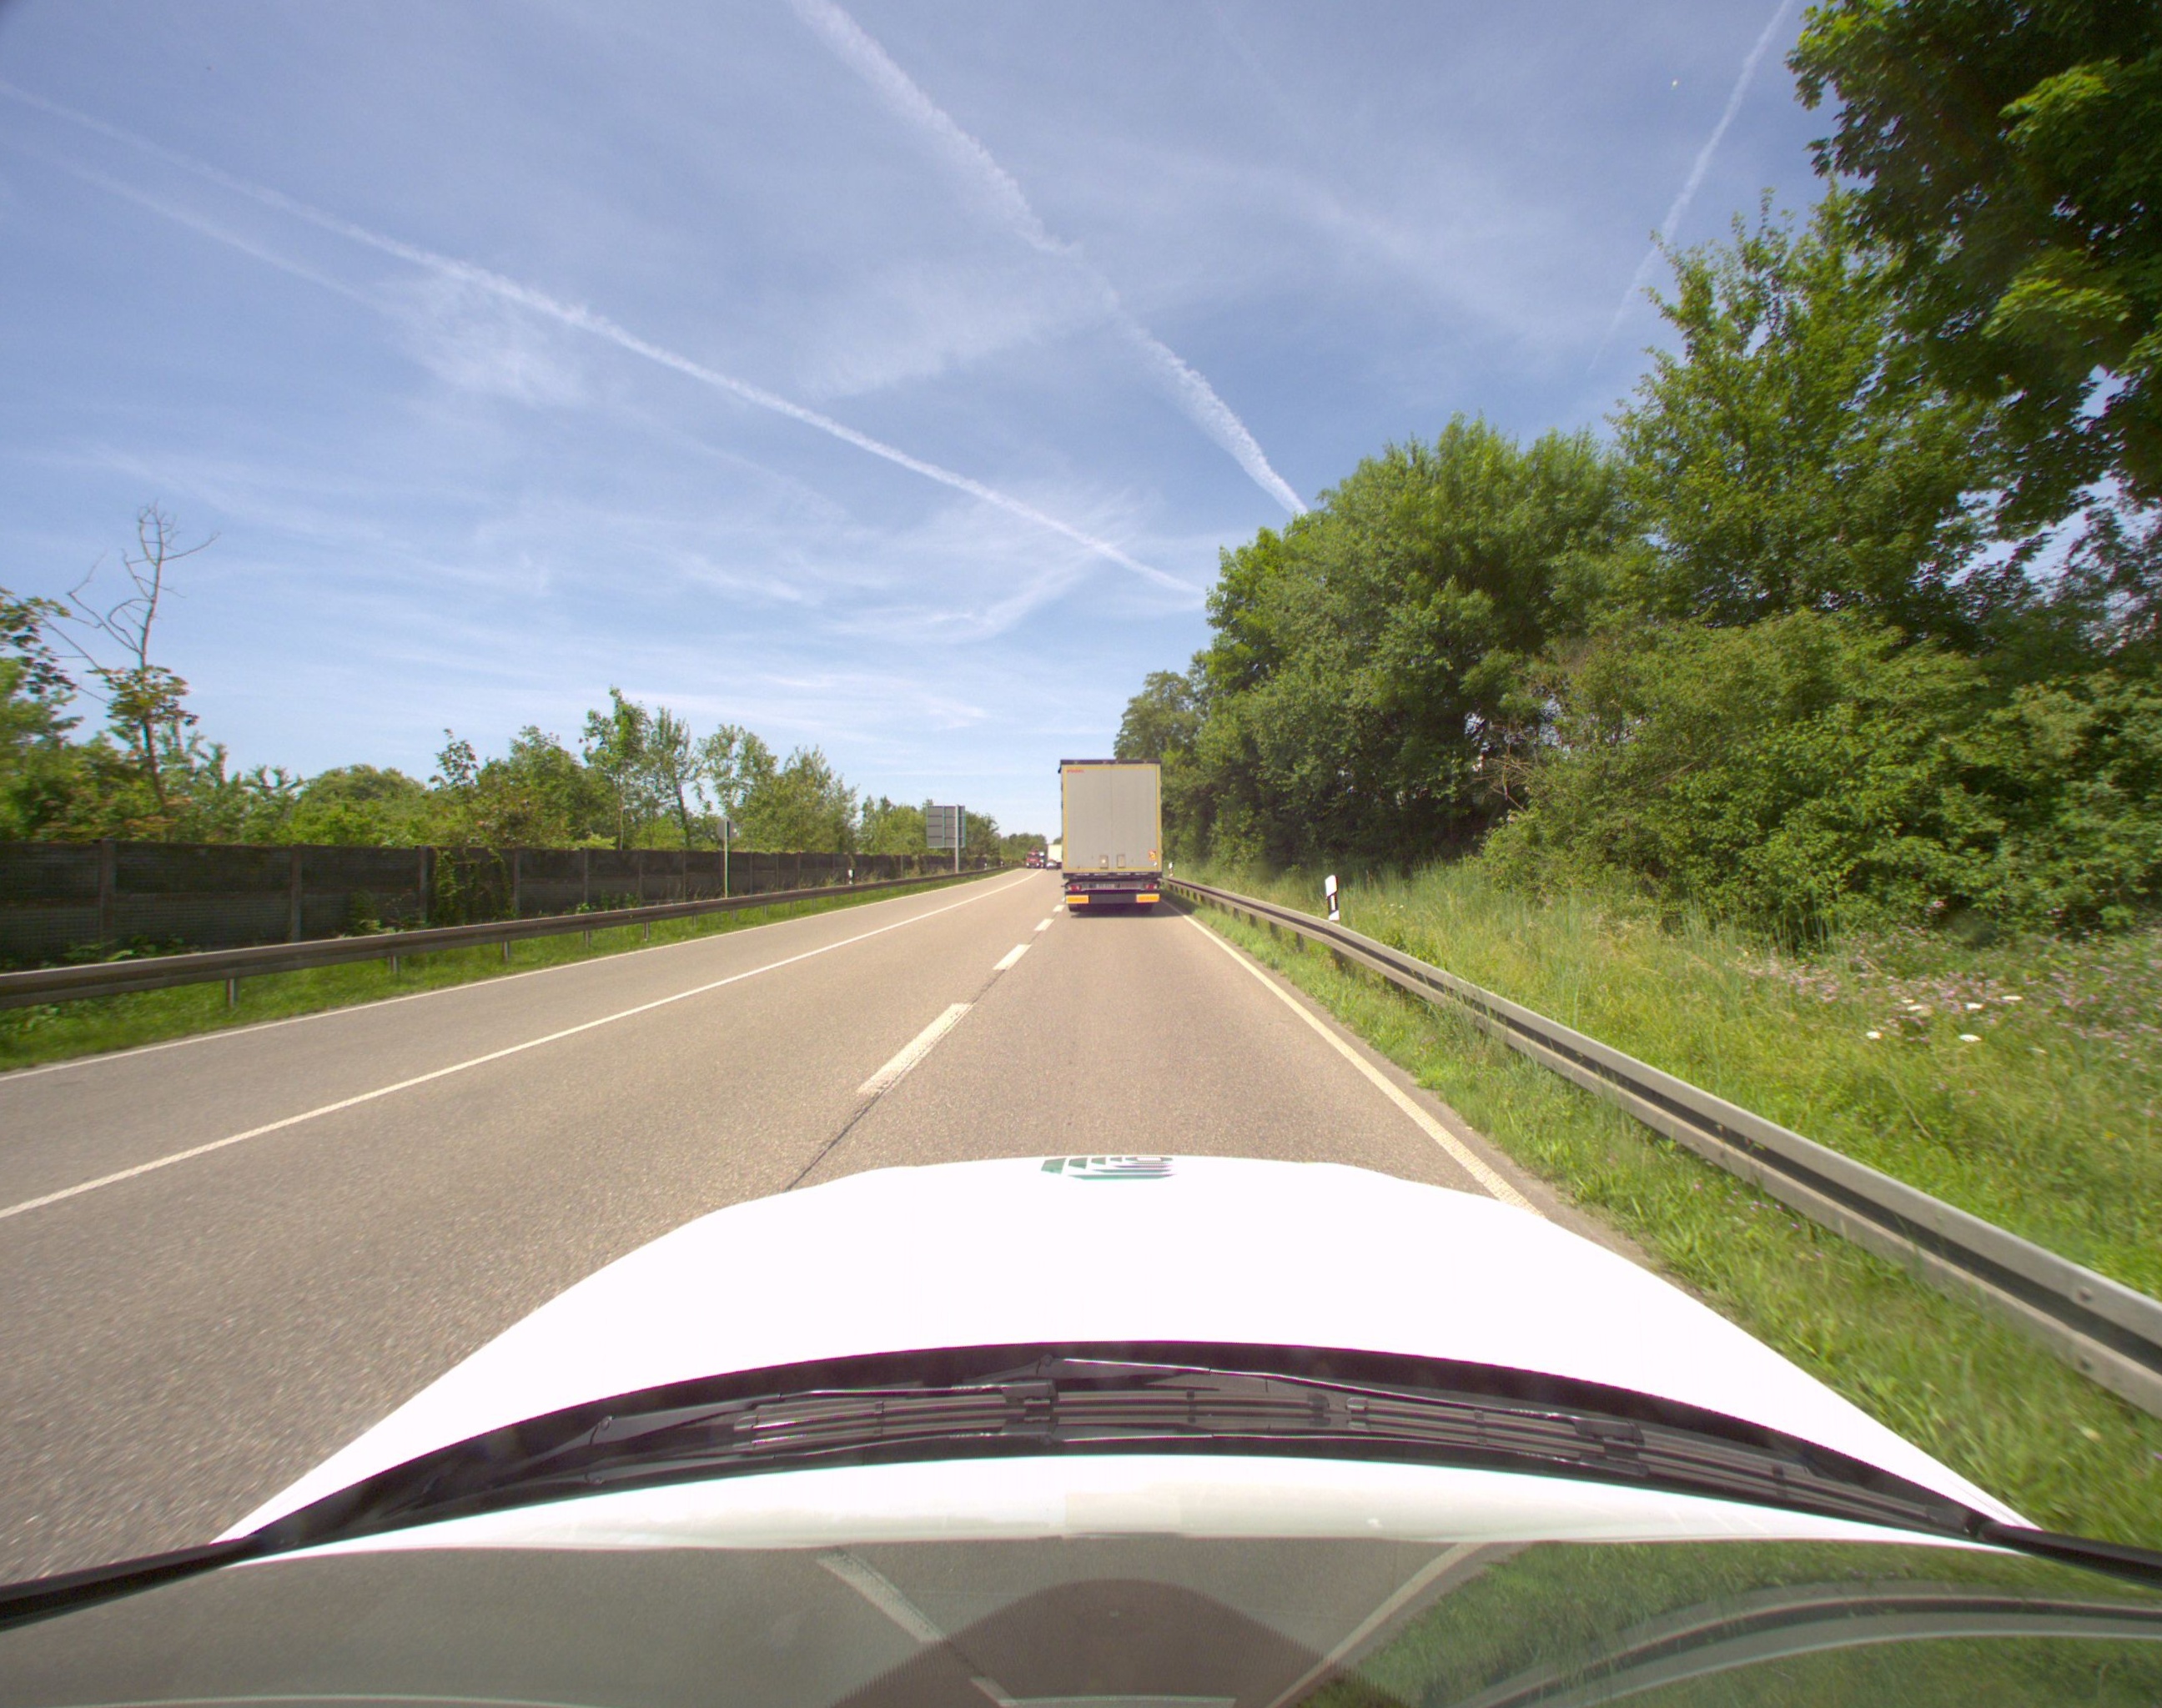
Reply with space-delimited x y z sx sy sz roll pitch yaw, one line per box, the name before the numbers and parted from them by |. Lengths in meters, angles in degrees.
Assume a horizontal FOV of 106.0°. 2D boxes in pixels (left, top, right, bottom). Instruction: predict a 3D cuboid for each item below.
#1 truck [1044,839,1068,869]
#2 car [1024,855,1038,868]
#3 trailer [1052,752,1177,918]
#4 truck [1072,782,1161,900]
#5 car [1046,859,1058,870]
truck | -4.140 0.084 137.897 3.818 4.744 16.192 -1 -1 -1
car | -9.823 1.425 160.683 2.611 2.423 5.820 -2 0 -4
trailer | 1.153 -0.409 26.653 3.014 4.035 13.361 -1 -1 3
truck | 1.490 -0.427 33.163 3.140 4.225 7.127 -1 -1 3
car | -4.155 1.534 117.858 1.662 1.486 3.997 0 0 -2
